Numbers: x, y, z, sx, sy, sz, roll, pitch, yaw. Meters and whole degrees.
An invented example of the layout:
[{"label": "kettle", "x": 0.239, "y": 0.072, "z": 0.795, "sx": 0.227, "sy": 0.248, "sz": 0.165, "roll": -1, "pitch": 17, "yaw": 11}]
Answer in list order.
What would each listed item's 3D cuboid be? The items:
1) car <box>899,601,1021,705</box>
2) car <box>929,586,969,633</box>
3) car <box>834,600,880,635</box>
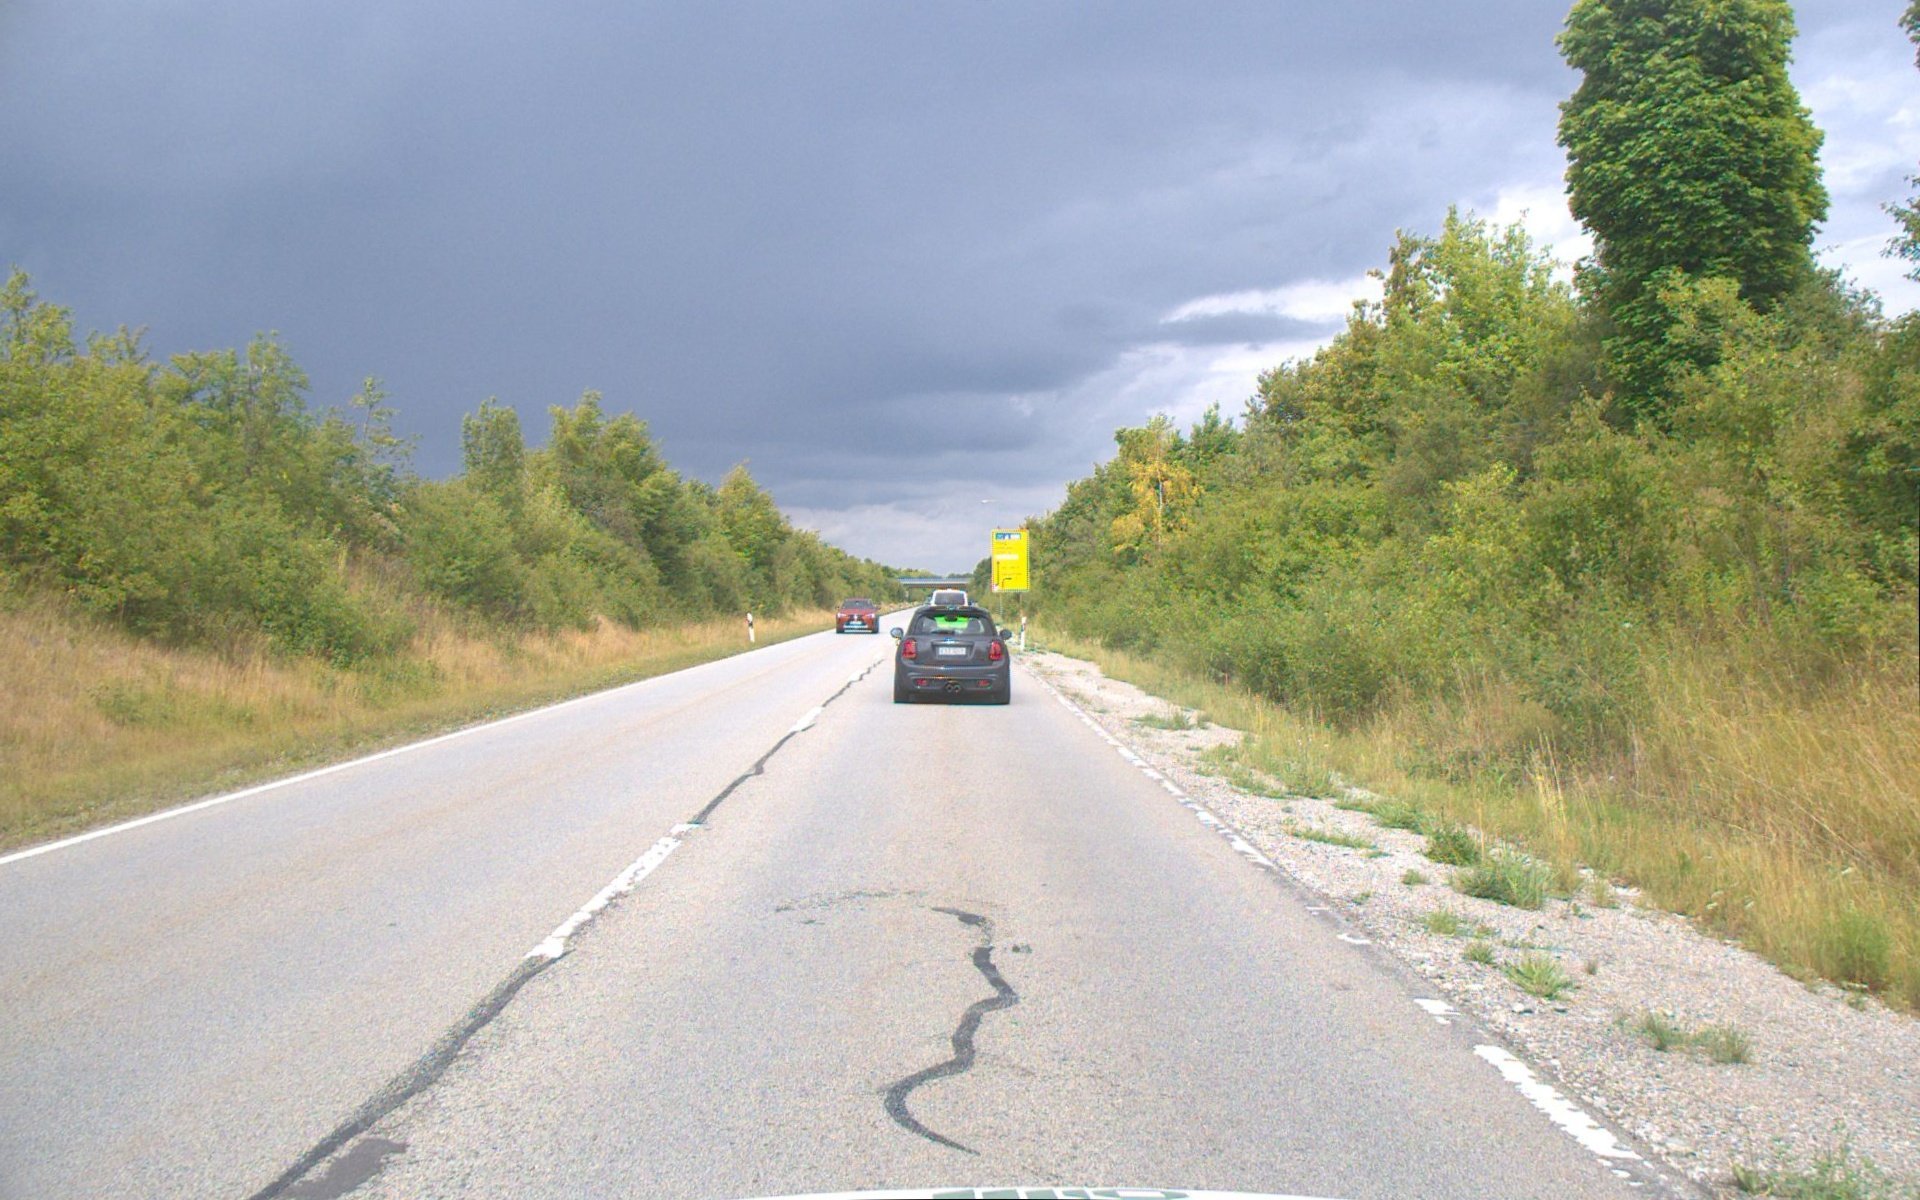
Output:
[{"label": "car", "x": -0.032, "y": 0.766, "z": 25.510, "sx": 1.721, "sy": 1.452, "sz": 3.999, "roll": 1, "pitch": 0, "yaw": -1}, {"label": "car", "x": -0.514, "y": 0.451, "z": 77.050, "sx": 1.782, "sy": 2.090, "sz": 3.999, "roll": 1, "pitch": 0, "yaw": -1}, {"label": "car", "x": -4.504, "y": 0.749, "z": 73.028, "sx": 1.791, "sy": 1.490, "sz": 4.410, "roll": 0, "pitch": 0, "yaw": -1}]
